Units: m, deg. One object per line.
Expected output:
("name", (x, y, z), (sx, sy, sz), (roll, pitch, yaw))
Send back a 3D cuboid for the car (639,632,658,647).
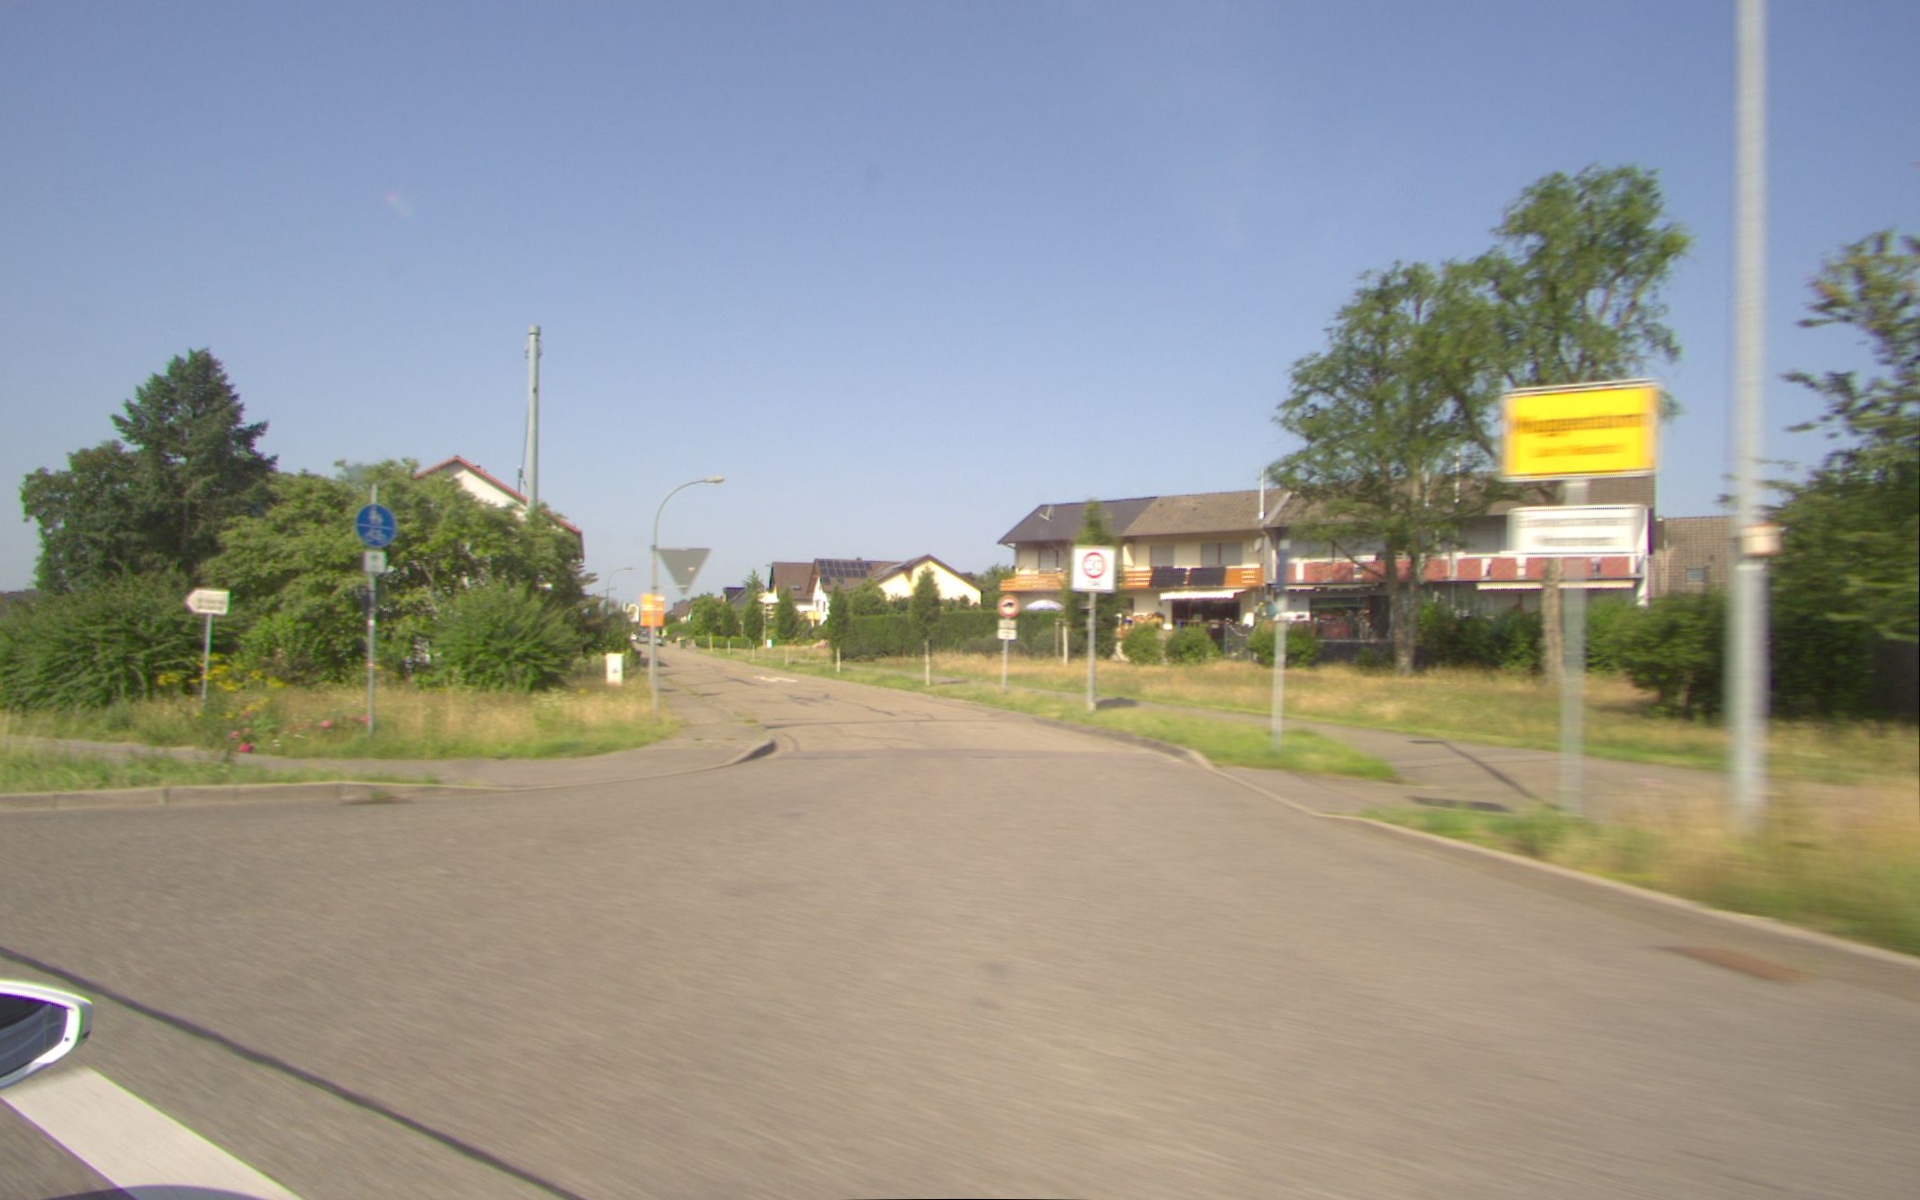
("car", (-40.827, 5.171, 131.374), (1.868, 1.793, 3.988), (3, -4, -24))
